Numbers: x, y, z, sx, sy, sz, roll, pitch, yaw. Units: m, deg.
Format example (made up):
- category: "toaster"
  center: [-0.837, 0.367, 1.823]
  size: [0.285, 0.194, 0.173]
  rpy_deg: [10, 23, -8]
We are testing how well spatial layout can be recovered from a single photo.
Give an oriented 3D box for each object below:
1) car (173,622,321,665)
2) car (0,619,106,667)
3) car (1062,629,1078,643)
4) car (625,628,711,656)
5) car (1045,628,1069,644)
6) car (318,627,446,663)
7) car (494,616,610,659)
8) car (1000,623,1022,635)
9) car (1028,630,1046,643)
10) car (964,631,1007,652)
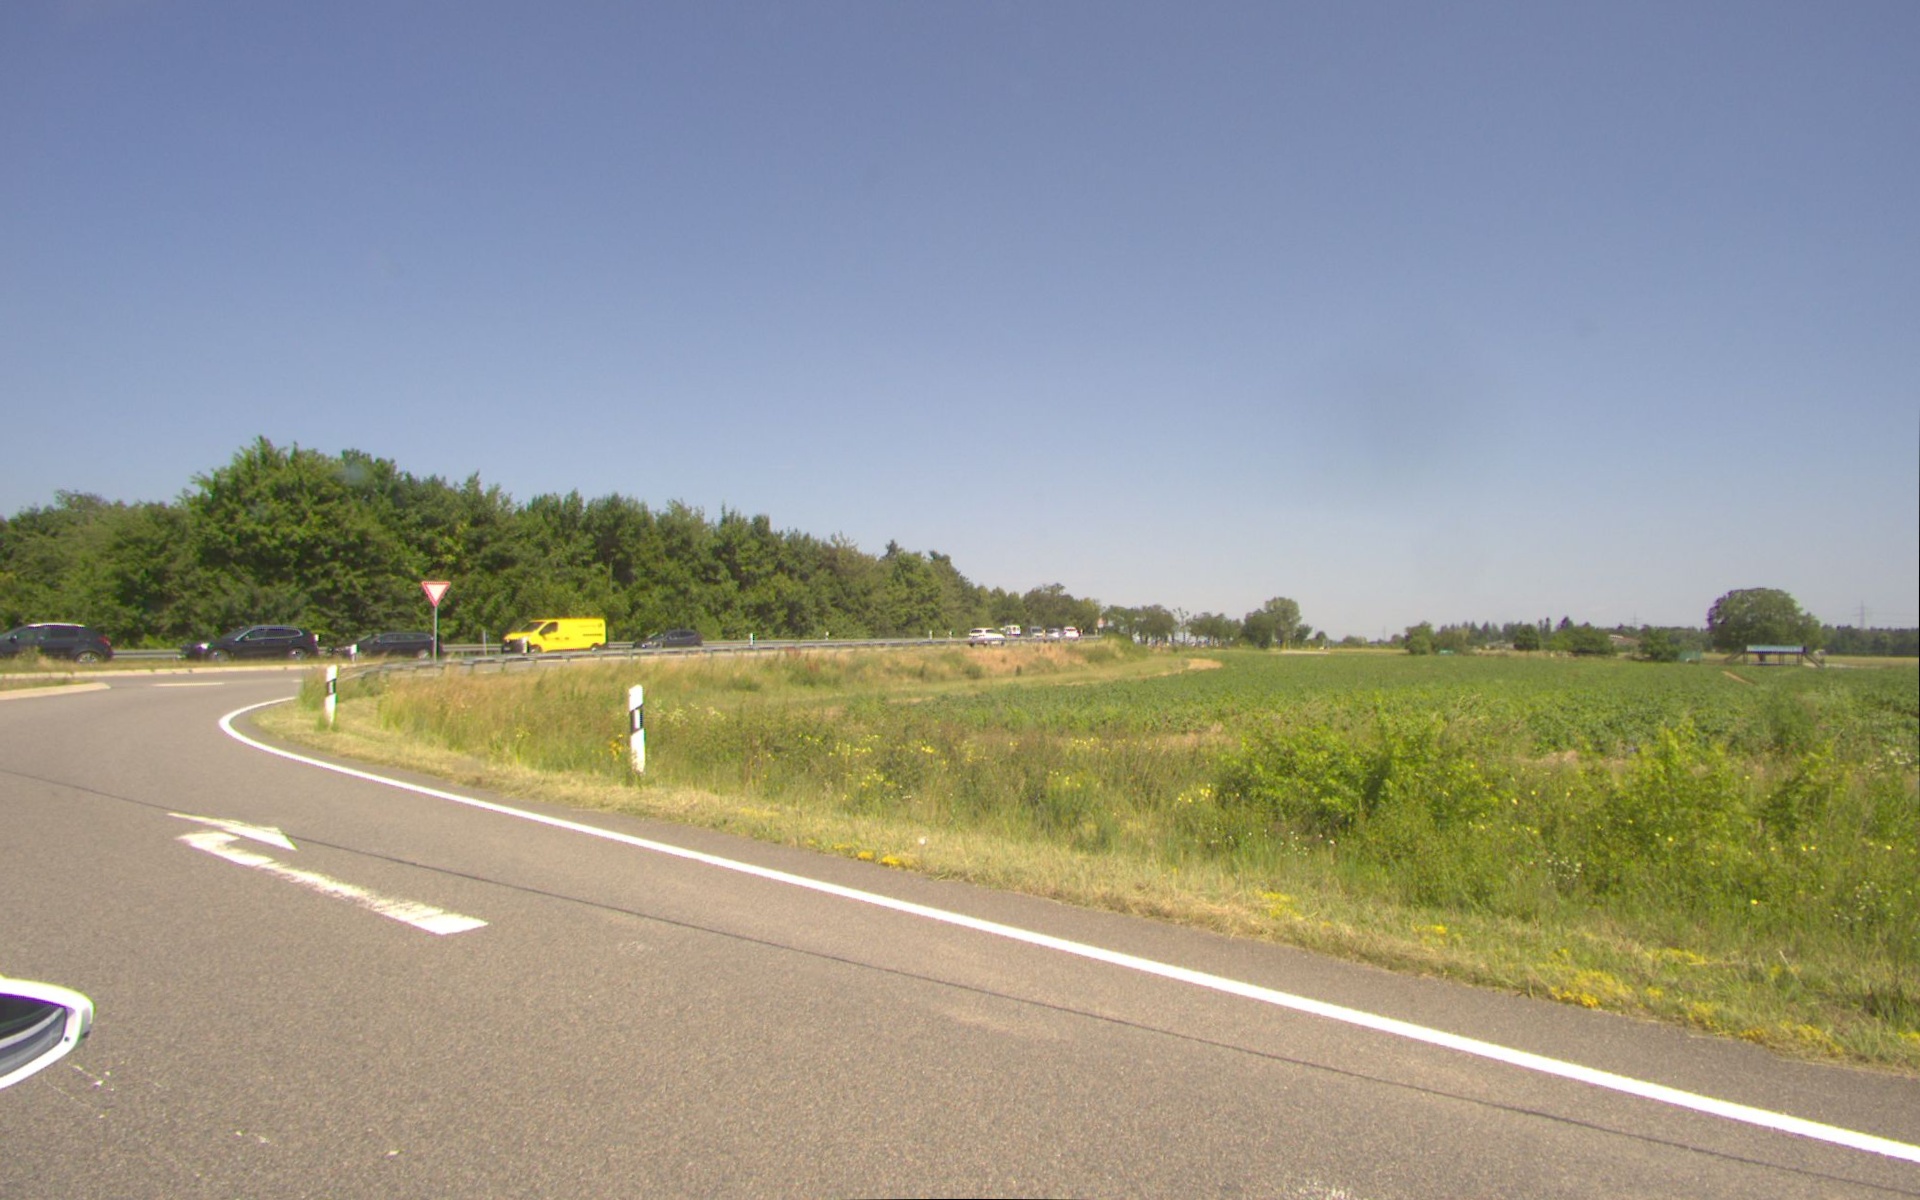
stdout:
- category: "car"
  center: [-28.050, 1.686, 39.525]
  size: [1.744, 1.618, 4.475]
  rpy_deg: [-1, -2, 34]
- category: "car"
  center: [-32.998, 1.507, 35.407]
  size: [1.818, 1.661, 3.972]
  rpy_deg: [-2, -2, 37]
- category: "car"
  center: [13.088, 4.233, 118.704]
  size: [1.706, 1.587, 4.484]
  rpy_deg: [-1, -2, 8]
- category: "car"
  center: [-16.617, 2.368, 57.153]
  size: [1.828, 1.533, 4.671]
  rpy_deg: [-1, -2, 34]
- category: "car"
  center: [9.739, 3.630, 100.309]
  size: [1.708, 1.587, 3.690]
  rpy_deg: [-1, -2, 16]
- category: "car"
  center: [-26.061, 1.997, 45.288]
  size: [1.831, 1.533, 4.664]
  rpy_deg: [-2, -2, 39]
- category: "car"
  center: [-20.571, 1.873, 50.714]
  size: [1.972, 2.039, 5.311]
  rpy_deg: [-1, -2, 33]
- category: "car"
  center: [7.094, 4.086, 140.113]
  size: [1.688, 1.589, 3.991]
  rpy_deg: [0, -2, -21]
- category: "car"
  center: [9.206, 4.346, 120.197]
  size: [1.817, 1.533, 4.700]
  rpy_deg: [0, -2, 0]
- category: "car"
  center: [2.148, 3.419, 82.769]
  size: [1.712, 1.587, 4.465]
  rpy_deg: [-1, 0, 28]
